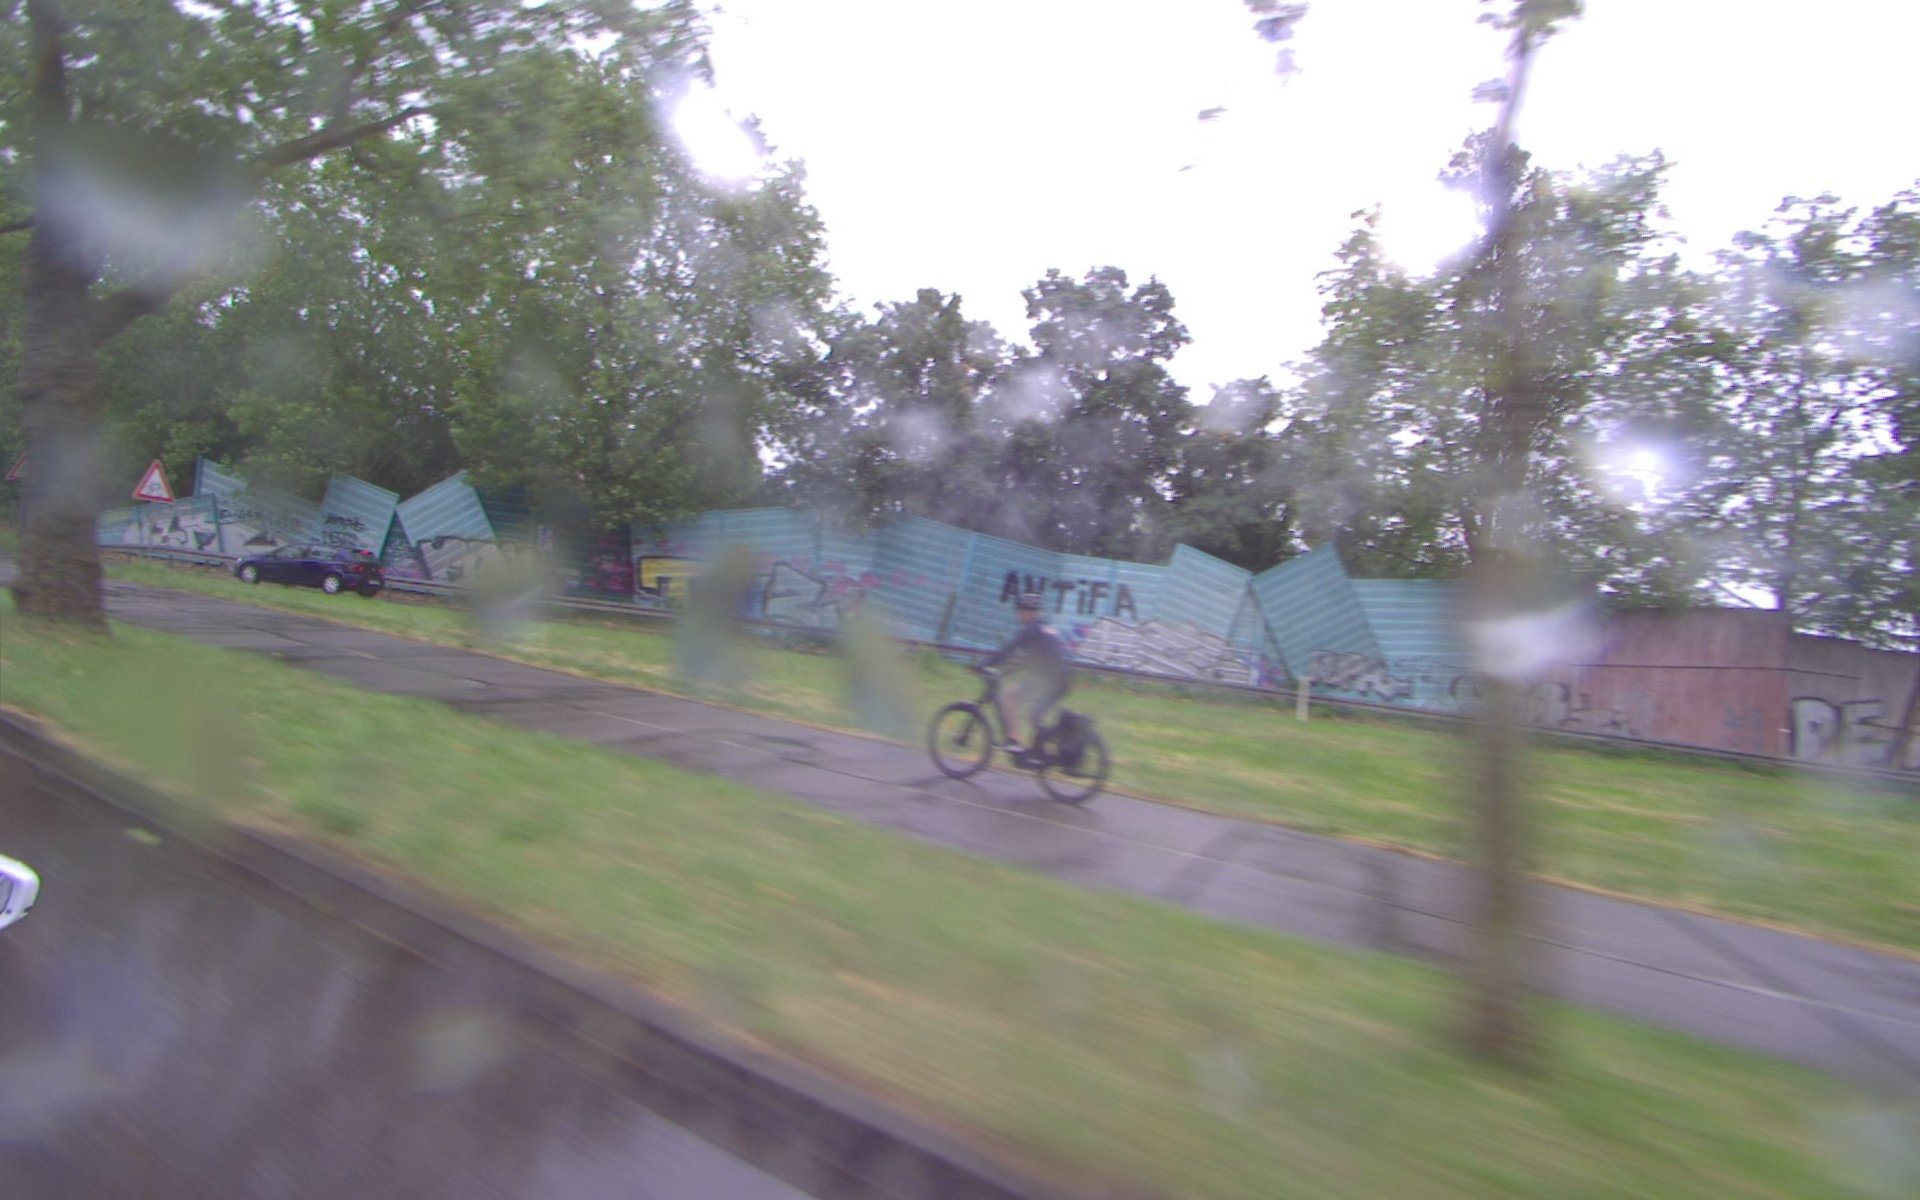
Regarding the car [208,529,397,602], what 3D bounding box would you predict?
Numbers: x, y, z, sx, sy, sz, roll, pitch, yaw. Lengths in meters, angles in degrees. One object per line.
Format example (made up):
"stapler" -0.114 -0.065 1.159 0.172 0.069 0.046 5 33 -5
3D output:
"car" -19.707 -1.003 30.267 4.431 1.555 1.870 7 0 4
